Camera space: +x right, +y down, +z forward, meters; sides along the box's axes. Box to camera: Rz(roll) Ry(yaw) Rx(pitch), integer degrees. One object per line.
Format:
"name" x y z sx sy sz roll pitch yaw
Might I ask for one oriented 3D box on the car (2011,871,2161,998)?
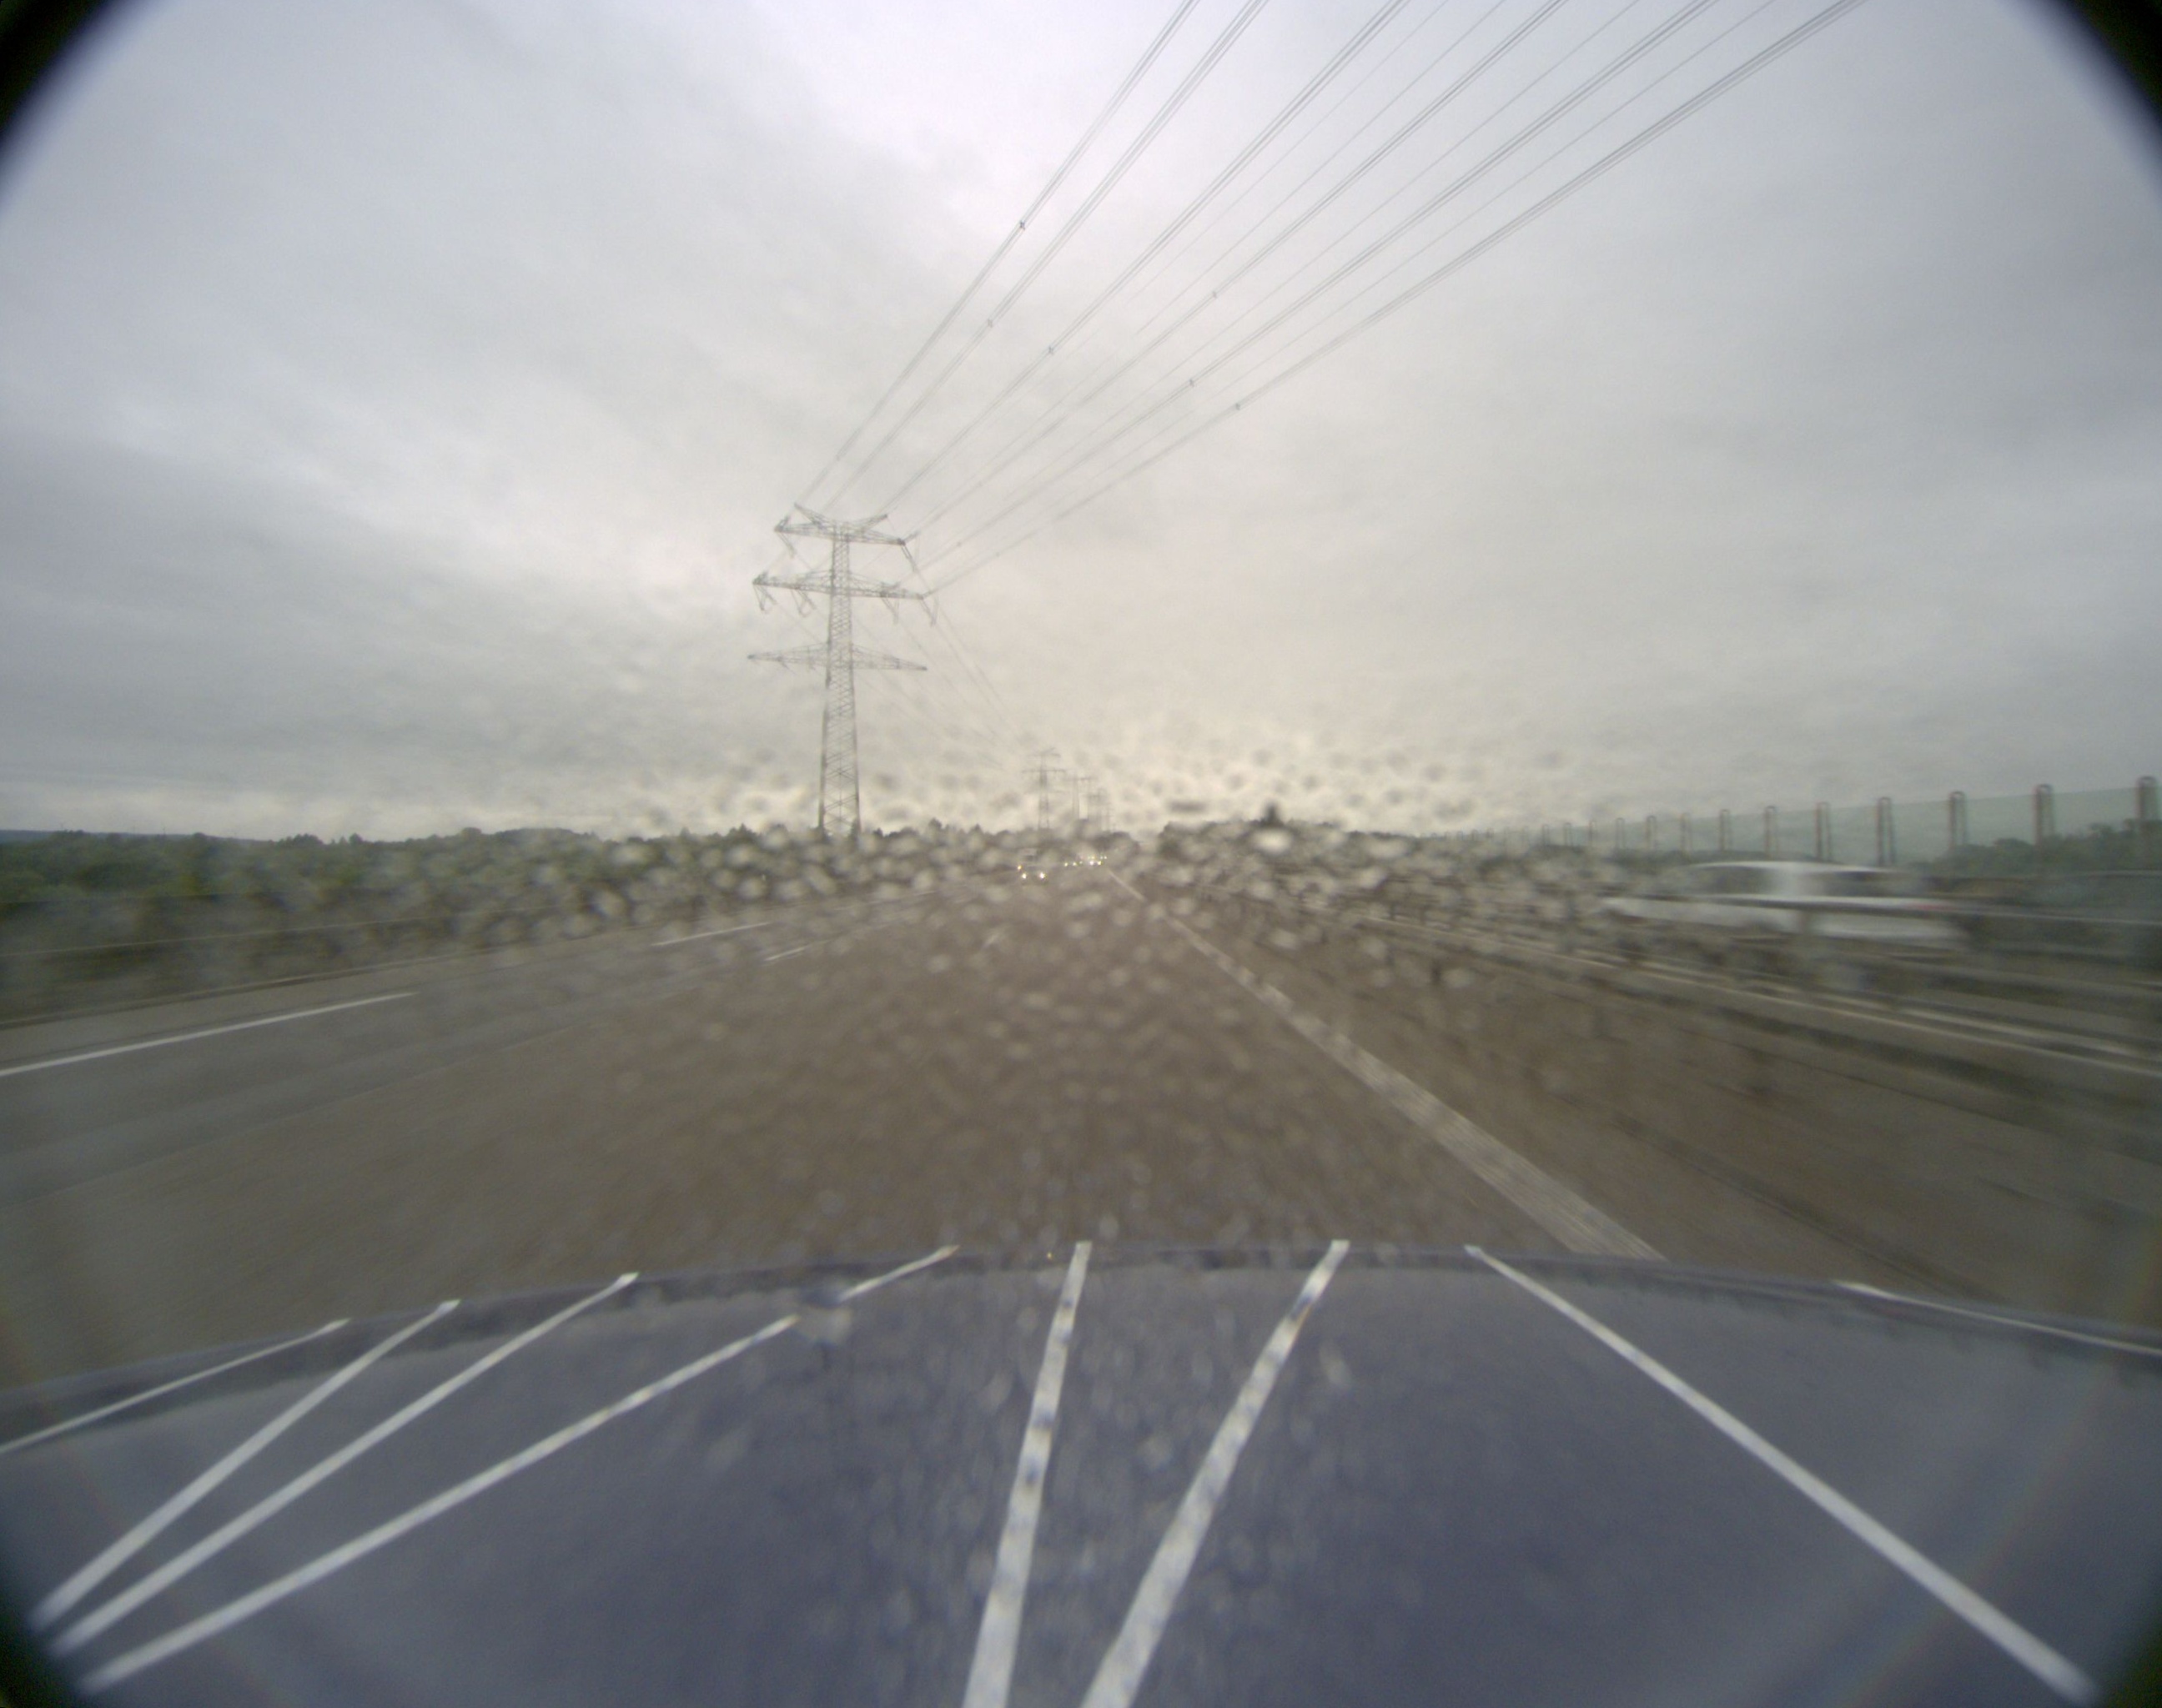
"car" 13.265 0.936 8.054 1.820 1.428 4.089 0 0 1

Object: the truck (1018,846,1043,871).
"truck" -7.103 0.641 107.816 2.649 3.325 6.931 -2 0 2

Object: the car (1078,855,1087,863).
"car" 0.341 1.049 160.237 1.856 1.418 4.000 -2 0 2

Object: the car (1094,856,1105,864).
"car" 3.619 1.167 146.909 1.998 1.418 4.000 -2 0 2

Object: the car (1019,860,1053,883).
"car" -3.141 1.211 53.995 1.998 1.418 4.000 -2 0 2

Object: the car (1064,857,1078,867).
"car" -1.504 1.154 117.093 1.998 1.418 4.000 -2 0 2

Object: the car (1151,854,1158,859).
"car" 24.092 0.775 250.535 1.998 1.620 4.713 -1 0 1

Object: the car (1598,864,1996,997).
"car" 9.342 0.876 10.483 1.660 1.428 4.089 0 0 1
